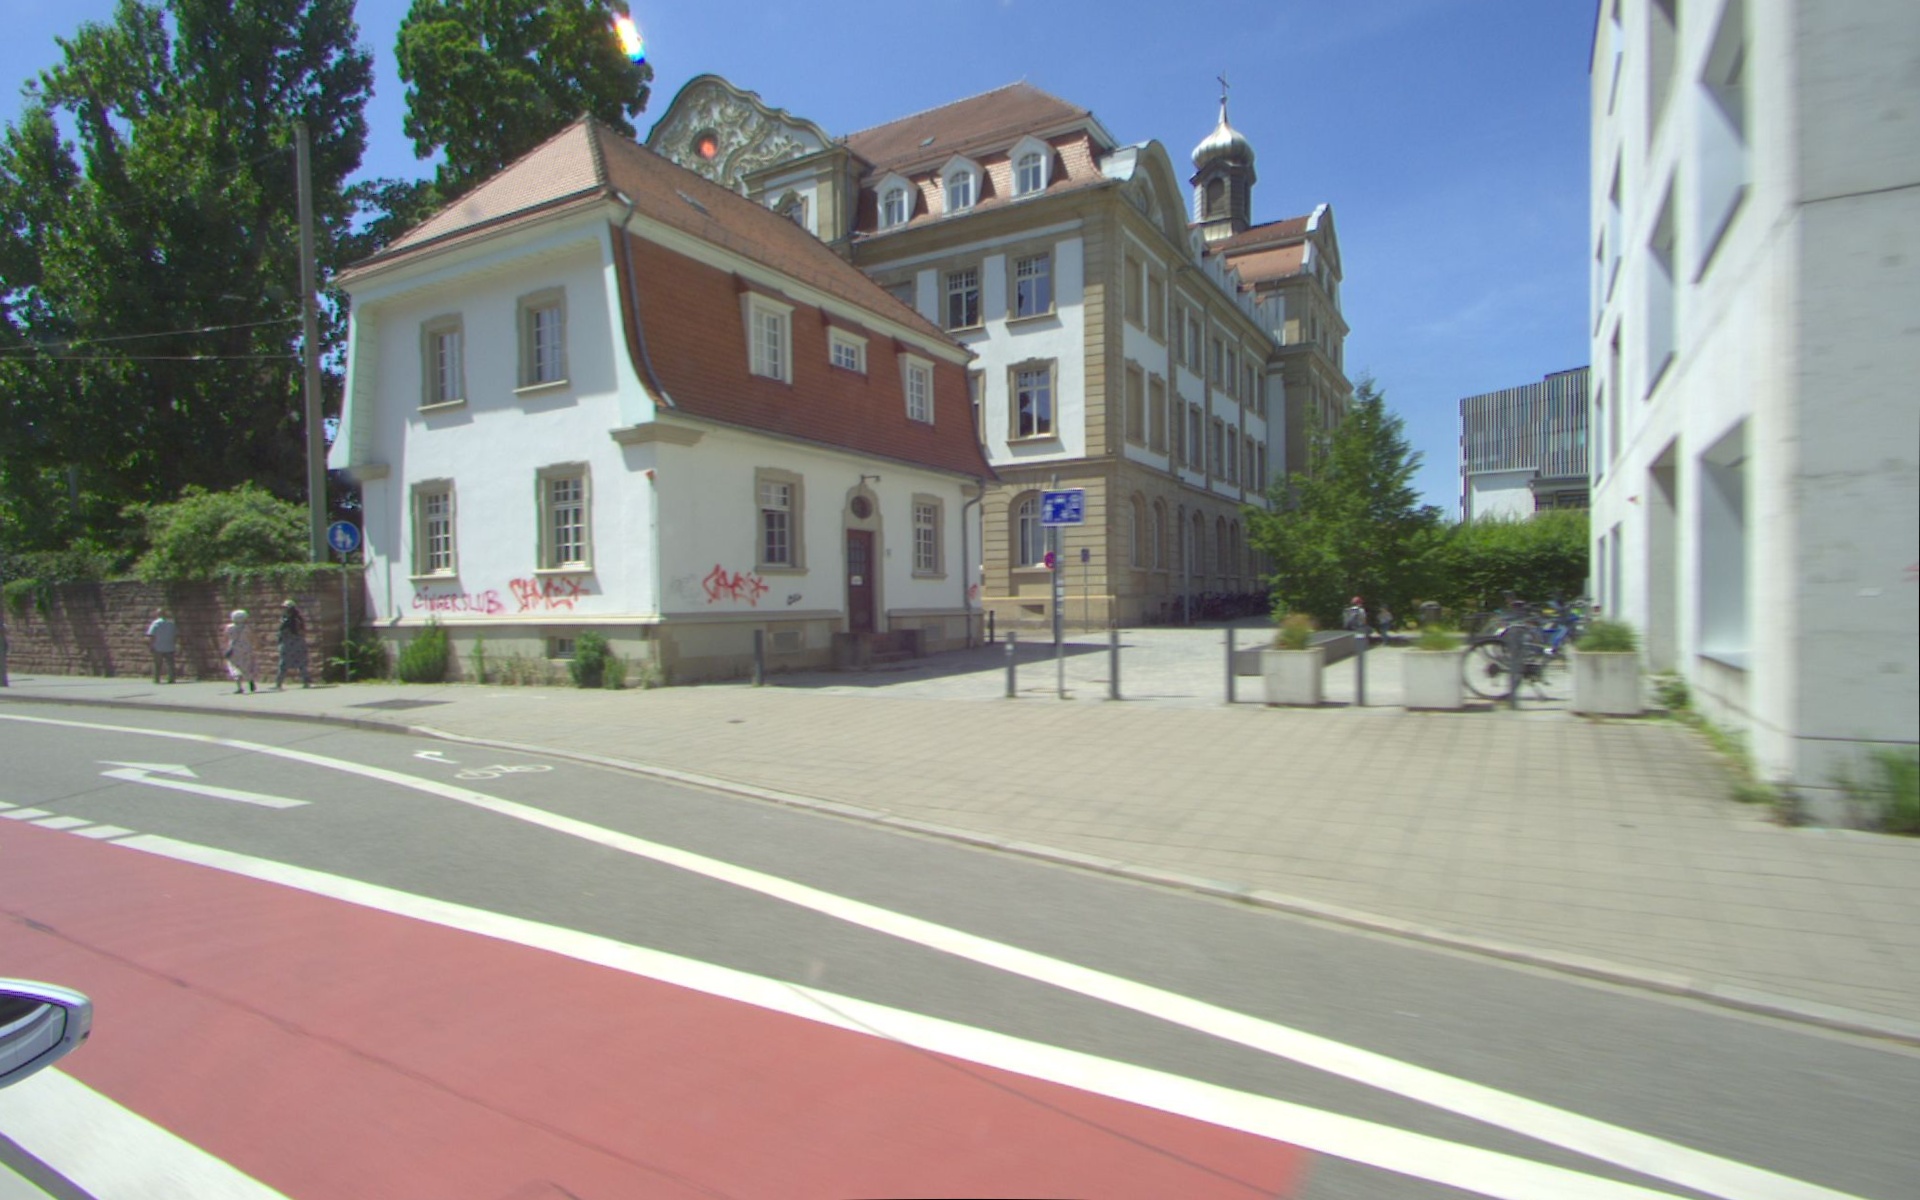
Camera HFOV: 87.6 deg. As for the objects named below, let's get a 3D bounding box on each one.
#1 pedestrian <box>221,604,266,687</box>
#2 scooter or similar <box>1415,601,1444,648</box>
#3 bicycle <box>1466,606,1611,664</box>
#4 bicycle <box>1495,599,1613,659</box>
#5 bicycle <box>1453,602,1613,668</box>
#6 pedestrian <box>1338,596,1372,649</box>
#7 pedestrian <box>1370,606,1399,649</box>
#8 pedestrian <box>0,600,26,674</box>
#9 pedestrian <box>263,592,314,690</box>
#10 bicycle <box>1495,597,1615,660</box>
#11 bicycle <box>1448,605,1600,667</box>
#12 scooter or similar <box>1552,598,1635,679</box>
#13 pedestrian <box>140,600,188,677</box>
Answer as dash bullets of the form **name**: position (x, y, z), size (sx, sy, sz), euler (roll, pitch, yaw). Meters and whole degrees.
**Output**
- **pedestrian**: position (-13.636, 0.854, 19.056), size (0.589, 1.553, 0.514), euler (0, 1, 35)
- **scooter or similar**: position (11.252, 0.584, 23.983), size (0.519, 1.098, 0.573), euler (-1, 0, 35)
- **bicycle**: position (10.205, 0.617, 17.761), size (2.164, 0.998, 0.651), euler (-1, 0, 24)
- **bicycle**: position (11.556, 0.570, 19.547), size (1.899, 1.130, 0.651), euler (-1, 0, 24)
- **bicycle**: position (9.170, 0.558, 16.127), size (2.164, 1.017, 0.651), euler (-1, 0, 24)
- **pedestrian**: position (9.641, 0.557, 24.442), size (0.625, 1.266, 0.643), euler (-1, 0, 35)
- **pedestrian**: position (10.532, 0.683, 24.851), size (0.508, 1.058, 0.466), euler (-1, 0, -41)
- **pedestrian**: position (-23.928, 0.913, 24.944), size (0.690, 1.832, 0.812), euler (0, 1, 34)
- **pedestrian**: position (-12.997, 0.807, 19.379), size (0.623, 1.792, 0.713), euler (6, -10, -42)
- **bicycle**: position (11.197, 0.539, 18.911), size (1.857, 1.147, 0.651), euler (-1, 0, 24)
- **bicycle**: position (9.473, 0.609, 16.908), size (2.164, 0.998, 0.651), euler (-1, 0, 24)
- **scooter or similar**: position (9.275, 0.553, 14.684), size (0.948, 1.155, 0.532), euler (-1, 0, 24)
- **pedestrian**: position (-17.651, 0.837, 22.207), size (0.616, 1.669, 0.658), euler (0, 1, 35)
